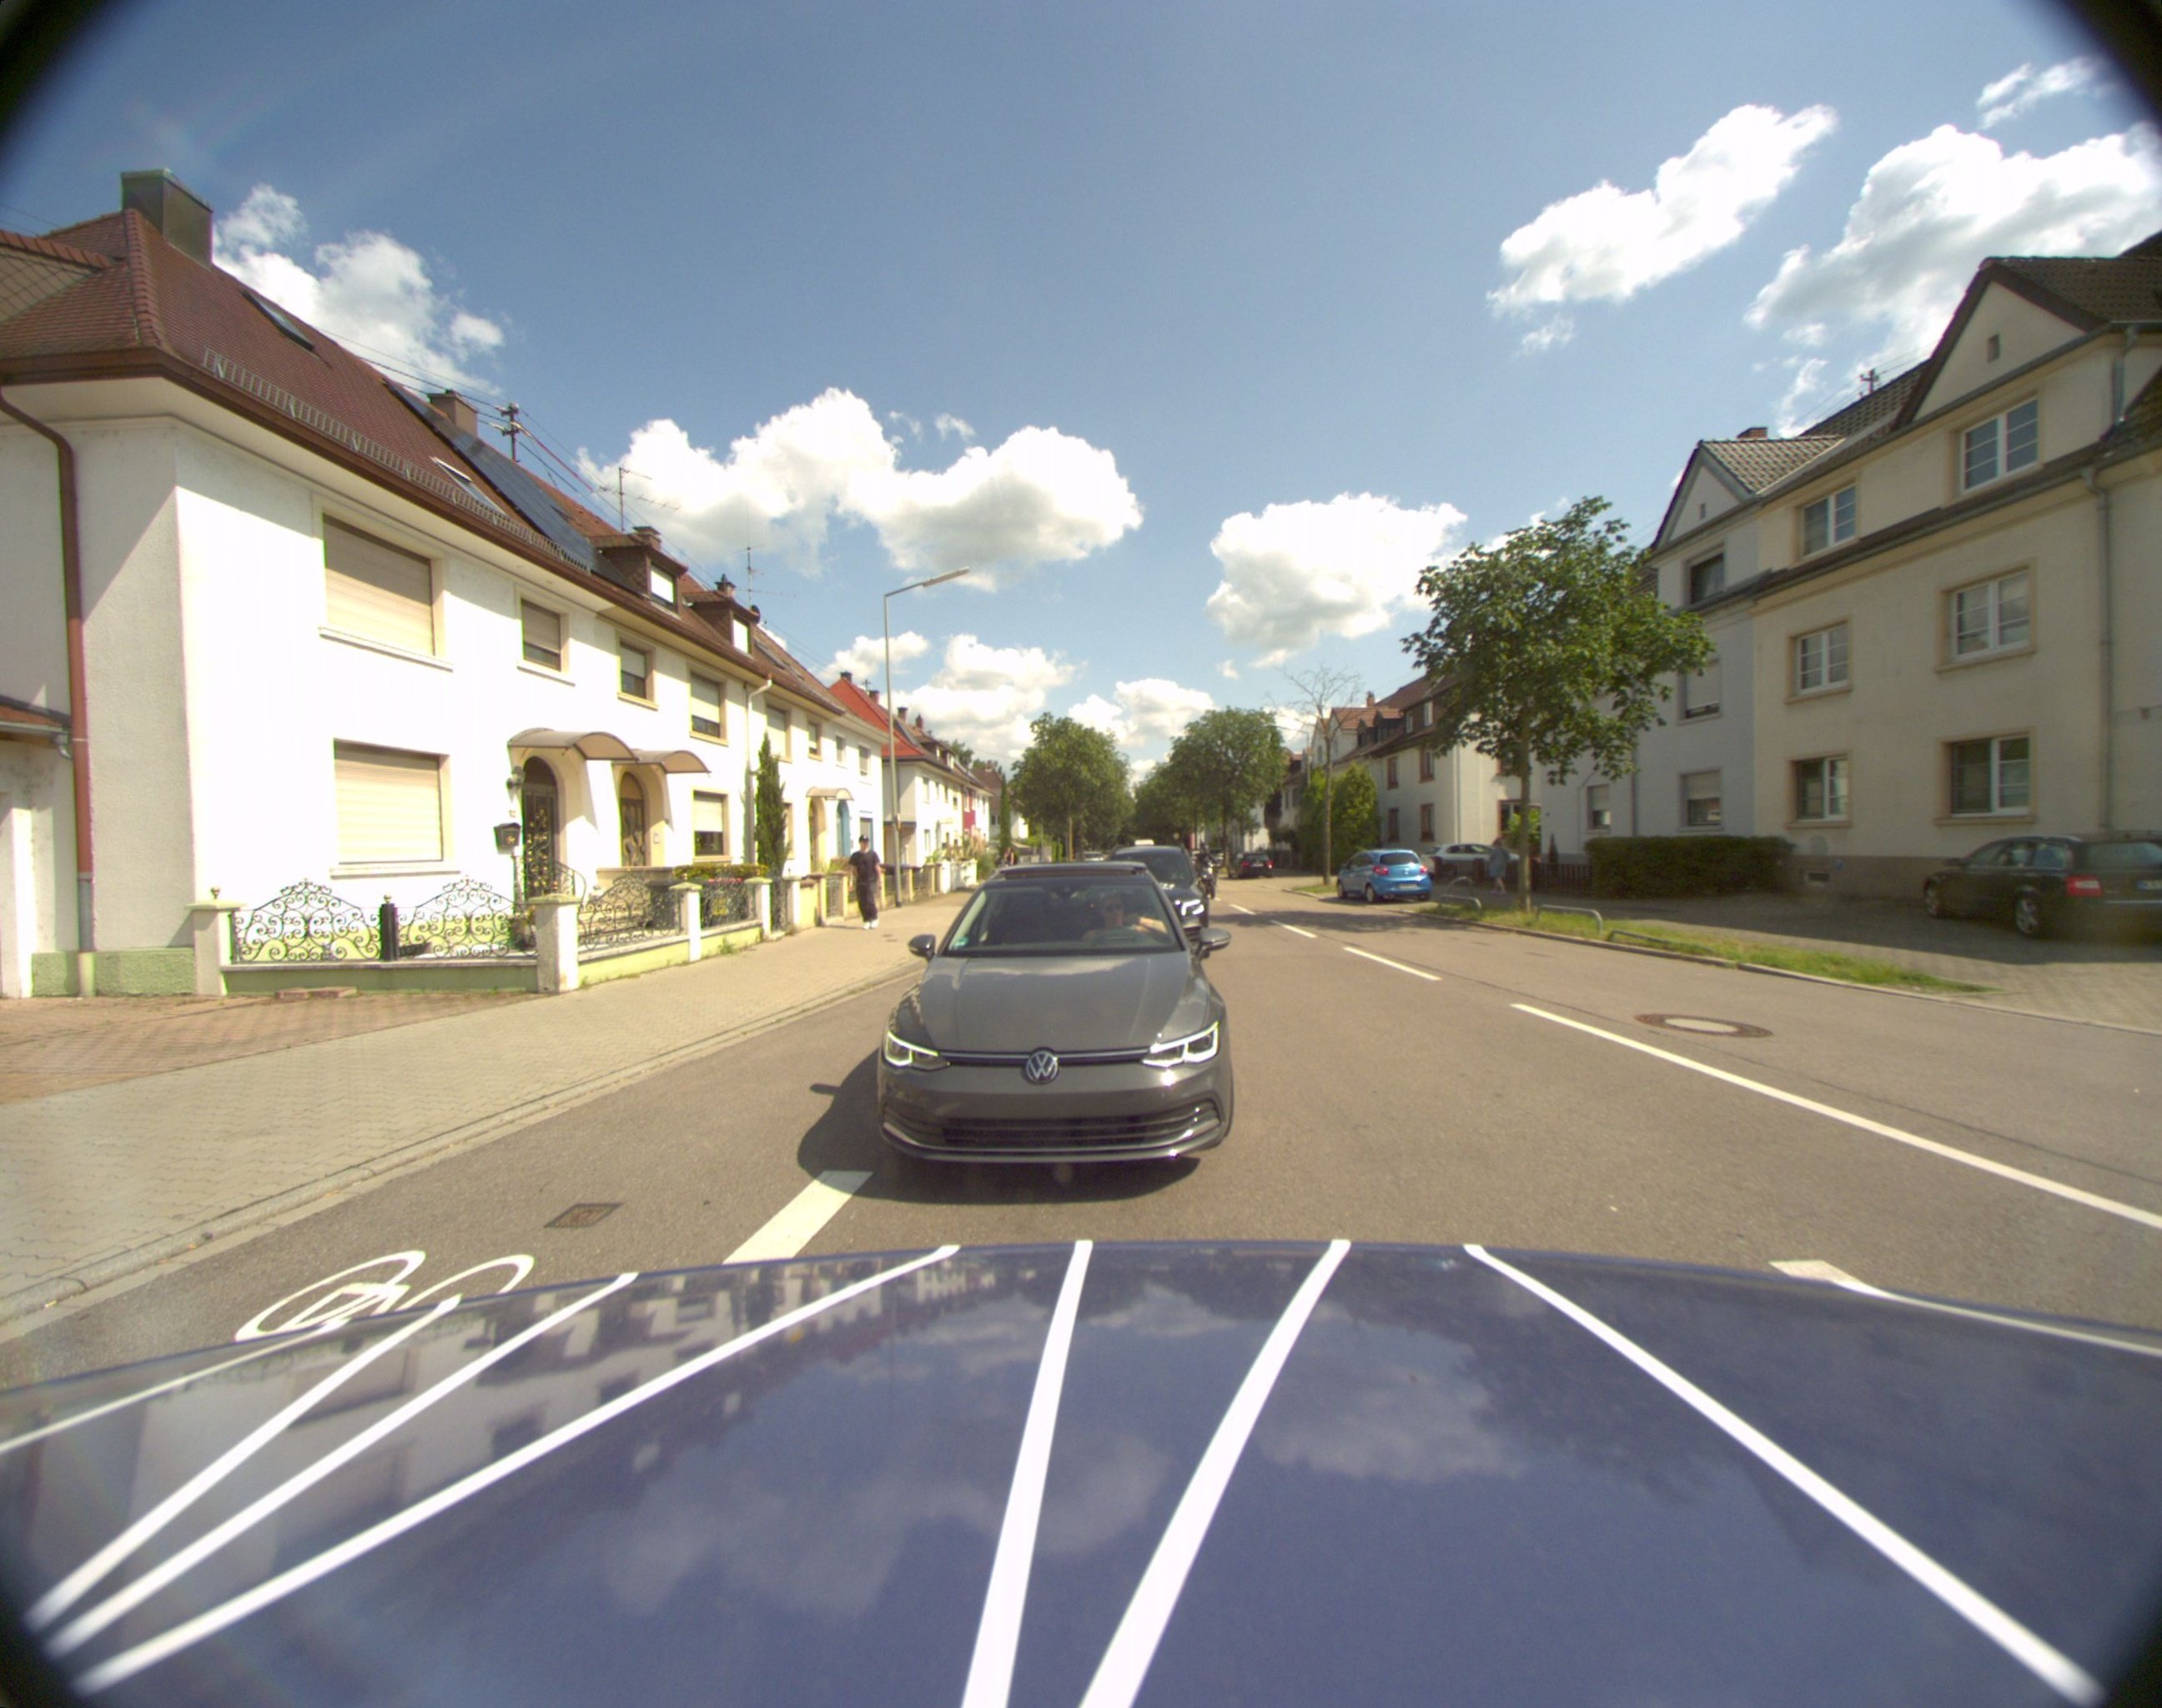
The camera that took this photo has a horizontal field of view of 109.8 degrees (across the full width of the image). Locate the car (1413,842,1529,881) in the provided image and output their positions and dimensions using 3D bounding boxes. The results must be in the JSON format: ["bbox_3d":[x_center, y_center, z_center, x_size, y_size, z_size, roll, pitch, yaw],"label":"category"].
[{"bbox_3d":[15.628,0.287,30.586,3.805,1.446,1.711,-1,1,4],"label":"car"}]

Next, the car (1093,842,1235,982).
[{"bbox_3d":[1.109,0.723,12.114,1.776,1.754,4.874,-1,0,1],"label":"car"}]

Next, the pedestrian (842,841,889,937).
[{"bbox_3d":[-4.052,0.634,14.353,0.592,1.757,0.937,-1,1,1],"label":"pedestrian"}]

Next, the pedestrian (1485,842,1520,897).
[{"bbox_3d":[11.976,0.430,21.611,0.632,1.527,0.618,-1,1,0],"label":"pedestrian"}]

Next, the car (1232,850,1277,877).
[{"bbox_3d":[8.946,0.464,39.493,1.709,1.289,3.918,-1,0,4],"label":"car"}]

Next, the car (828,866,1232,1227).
[{"bbox_3d":[-0.255,0.895,5.730,1.766,1.465,4.686,-1,0,-1],"label":"car"}]

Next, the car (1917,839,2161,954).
[{"bbox_3d":[14.238,0.499,10.997,1.757,1.378,4.110,-1,1,31],"label":"car"}]

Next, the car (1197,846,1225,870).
[{"bbox_3d":[9.110,0.257,53.435,1.562,1.645,3.574,-1,0,4],"label":"car"}]

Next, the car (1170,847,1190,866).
[{"bbox_3d":[8.928,0.221,68.503,1.562,1.645,3.252,-1,0,4],"label":"car"}]

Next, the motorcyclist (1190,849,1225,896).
[{"bbox_3d":[3.968,0.589,23.896,0.825,1.390,1.100,-3,-2,-3],"label":"motorcyclist"}]

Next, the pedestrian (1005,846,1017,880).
[{"bbox_3d":[-3.608,0.461,39.081,0.519,1.701,0.618,-1,1,2],"label":"pedestrian"}]

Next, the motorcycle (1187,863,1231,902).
[{"bbox_3d":[3.962,0.860,23.690,0.843,1.121,2.358,-1,0,-3],"label":"motorcycle"}]

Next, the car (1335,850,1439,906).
[{"bbox_3d":[8.619,0.624,21.656,1.709,1.454,3.154,-1,0,1],"label":"car"}]

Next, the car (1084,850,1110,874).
[{"bbox_3d":[1.065,0.480,49.964,1.381,1.493,3.002,-2,0,6],"label":"car"}]
